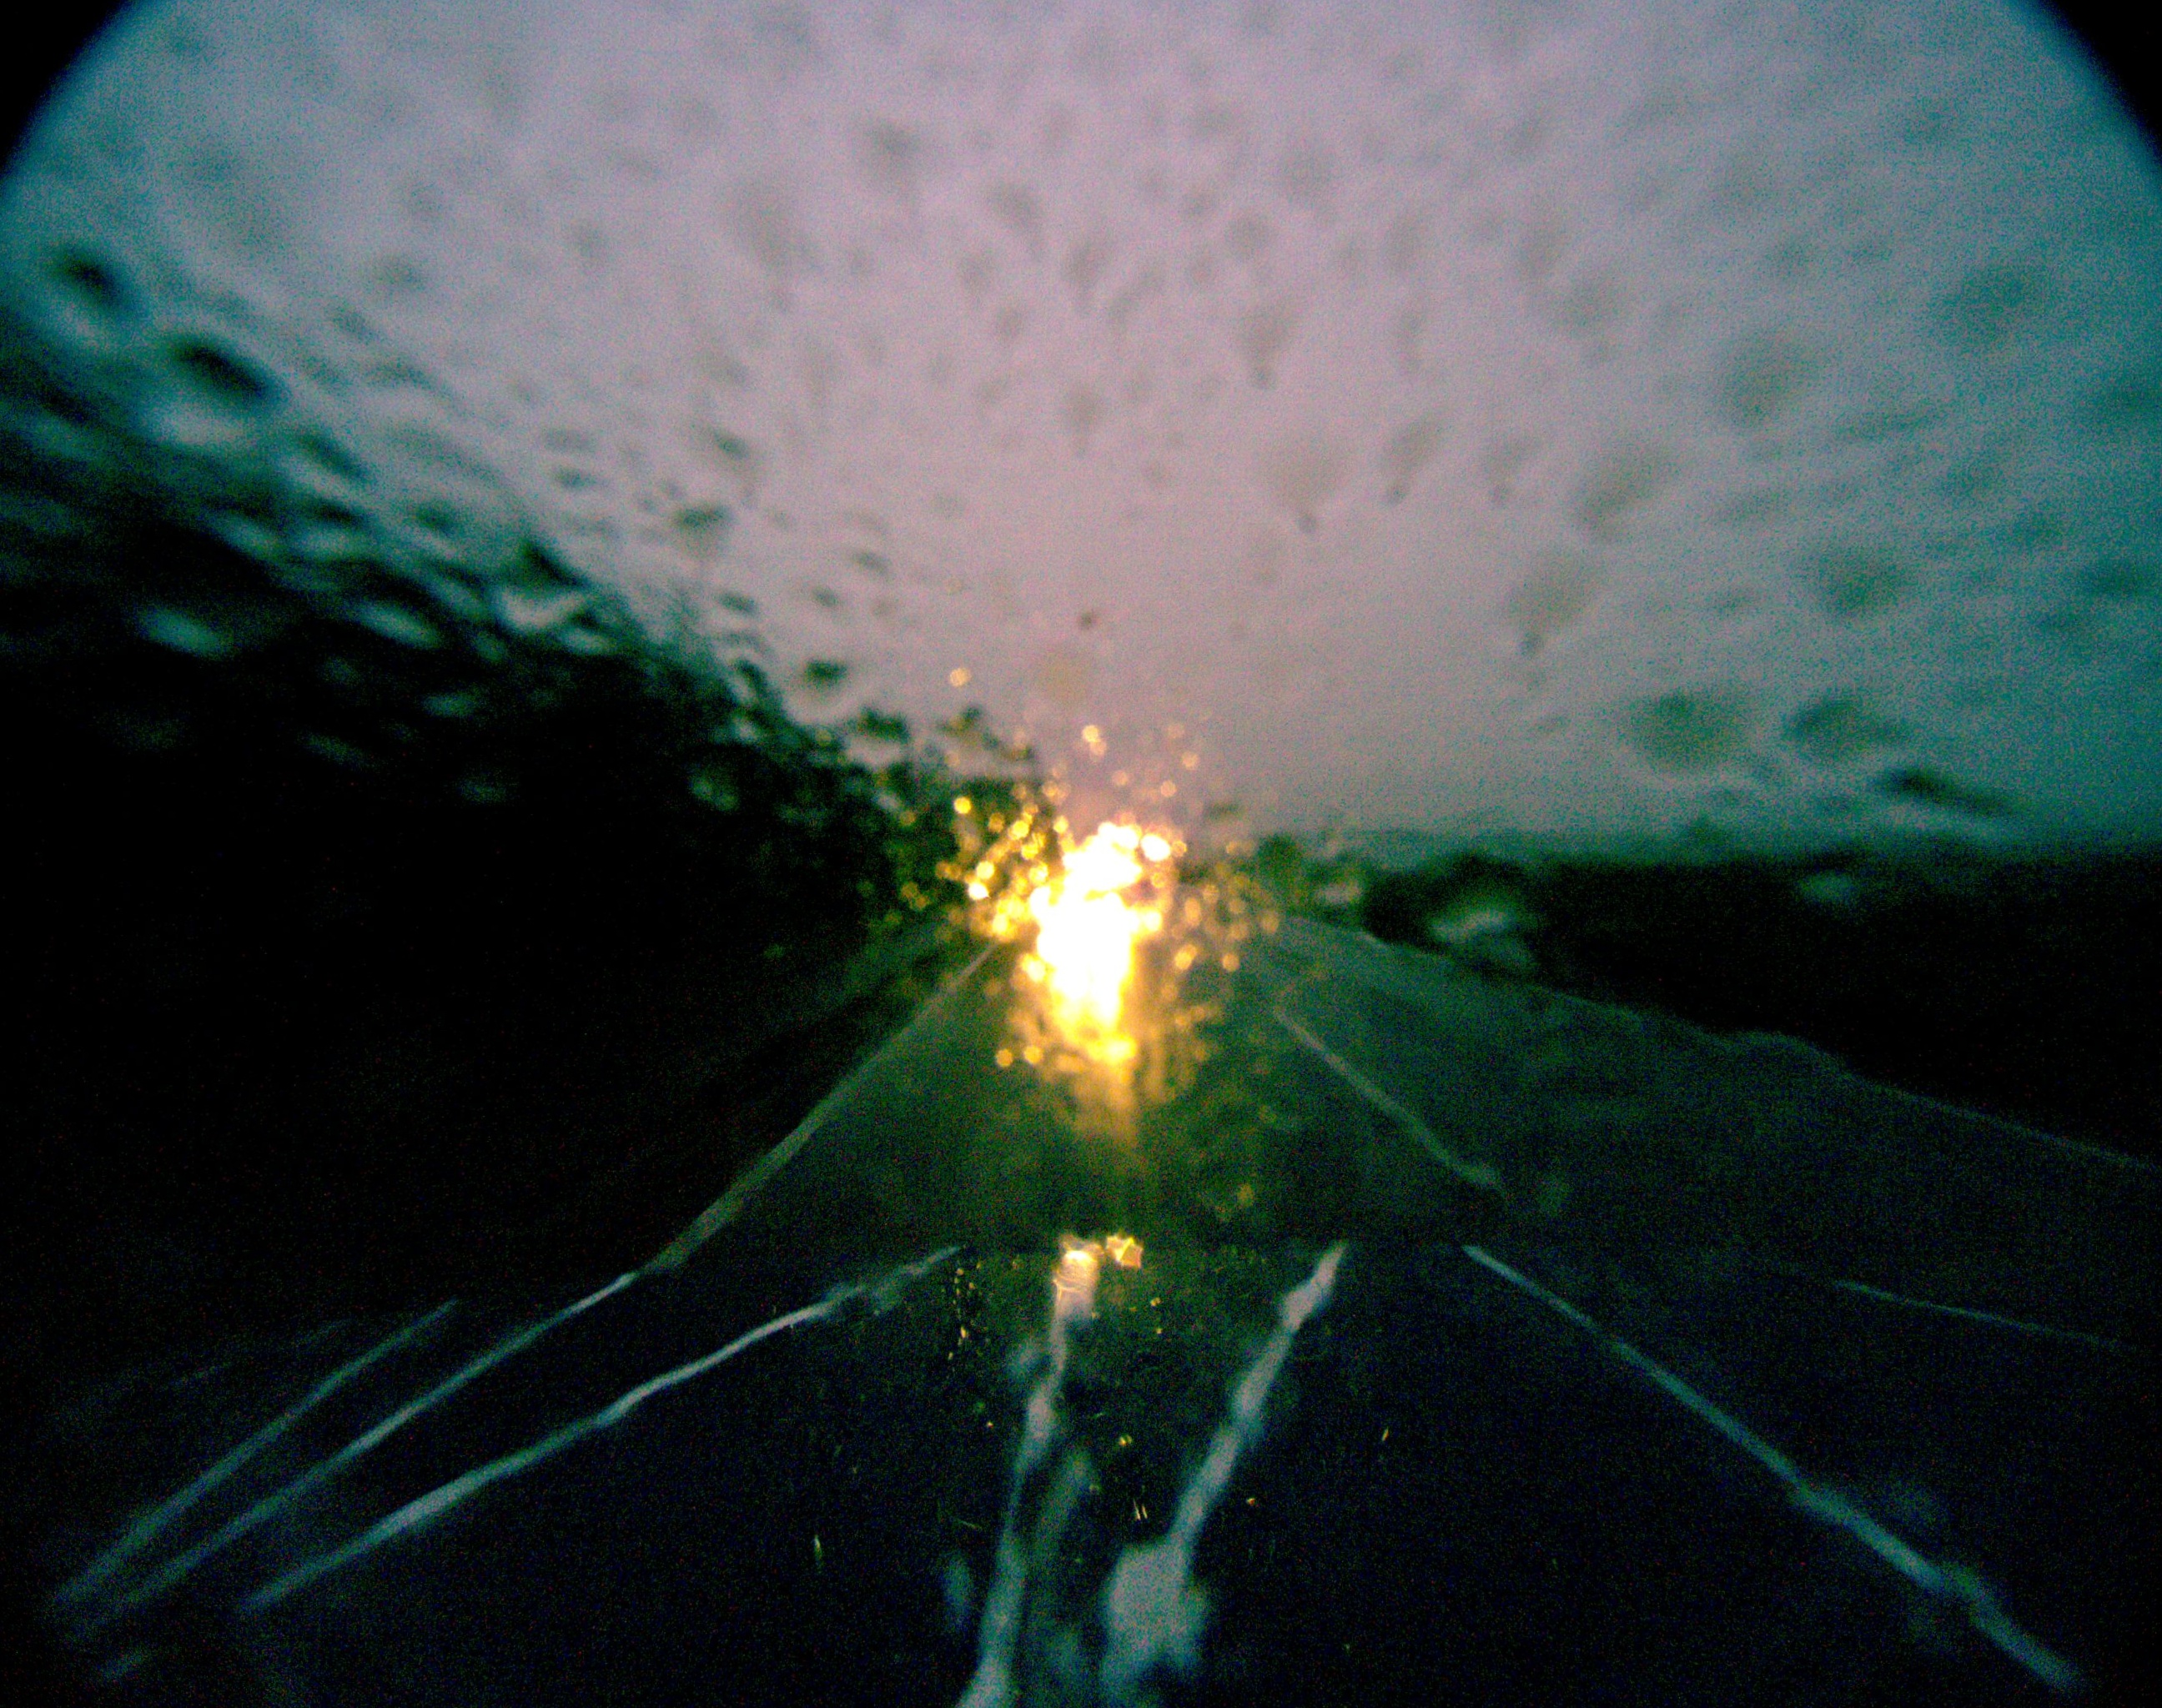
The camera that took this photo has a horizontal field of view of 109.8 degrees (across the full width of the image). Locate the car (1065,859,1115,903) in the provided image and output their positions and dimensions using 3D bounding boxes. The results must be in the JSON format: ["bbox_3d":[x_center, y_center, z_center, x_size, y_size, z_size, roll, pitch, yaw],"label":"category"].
[{"bbox_3d":[0.326,1.019,30.384,1.844,1.484,3.955,-2,1,0],"label":"car"}]

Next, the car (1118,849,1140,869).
[{"bbox_3d":[4.725,0.498,75.495,1.998,1.860,4.952,1,0,1],"label":"car"}]

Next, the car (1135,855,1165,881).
[{"bbox_3d":[4.717,0.910,52.366,1.733,1.637,4.261,1,0,1],"label":"car"}]

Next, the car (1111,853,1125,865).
[{"bbox_3d":[4.914,0.644,100.964,1.630,1.464,3.512,1,1,1],"label":"car"}]

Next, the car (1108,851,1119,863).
[{"bbox_3d":[5.607,0.492,131.289,1.871,2.041,4.293,-1,0,1],"label":"car"}]
